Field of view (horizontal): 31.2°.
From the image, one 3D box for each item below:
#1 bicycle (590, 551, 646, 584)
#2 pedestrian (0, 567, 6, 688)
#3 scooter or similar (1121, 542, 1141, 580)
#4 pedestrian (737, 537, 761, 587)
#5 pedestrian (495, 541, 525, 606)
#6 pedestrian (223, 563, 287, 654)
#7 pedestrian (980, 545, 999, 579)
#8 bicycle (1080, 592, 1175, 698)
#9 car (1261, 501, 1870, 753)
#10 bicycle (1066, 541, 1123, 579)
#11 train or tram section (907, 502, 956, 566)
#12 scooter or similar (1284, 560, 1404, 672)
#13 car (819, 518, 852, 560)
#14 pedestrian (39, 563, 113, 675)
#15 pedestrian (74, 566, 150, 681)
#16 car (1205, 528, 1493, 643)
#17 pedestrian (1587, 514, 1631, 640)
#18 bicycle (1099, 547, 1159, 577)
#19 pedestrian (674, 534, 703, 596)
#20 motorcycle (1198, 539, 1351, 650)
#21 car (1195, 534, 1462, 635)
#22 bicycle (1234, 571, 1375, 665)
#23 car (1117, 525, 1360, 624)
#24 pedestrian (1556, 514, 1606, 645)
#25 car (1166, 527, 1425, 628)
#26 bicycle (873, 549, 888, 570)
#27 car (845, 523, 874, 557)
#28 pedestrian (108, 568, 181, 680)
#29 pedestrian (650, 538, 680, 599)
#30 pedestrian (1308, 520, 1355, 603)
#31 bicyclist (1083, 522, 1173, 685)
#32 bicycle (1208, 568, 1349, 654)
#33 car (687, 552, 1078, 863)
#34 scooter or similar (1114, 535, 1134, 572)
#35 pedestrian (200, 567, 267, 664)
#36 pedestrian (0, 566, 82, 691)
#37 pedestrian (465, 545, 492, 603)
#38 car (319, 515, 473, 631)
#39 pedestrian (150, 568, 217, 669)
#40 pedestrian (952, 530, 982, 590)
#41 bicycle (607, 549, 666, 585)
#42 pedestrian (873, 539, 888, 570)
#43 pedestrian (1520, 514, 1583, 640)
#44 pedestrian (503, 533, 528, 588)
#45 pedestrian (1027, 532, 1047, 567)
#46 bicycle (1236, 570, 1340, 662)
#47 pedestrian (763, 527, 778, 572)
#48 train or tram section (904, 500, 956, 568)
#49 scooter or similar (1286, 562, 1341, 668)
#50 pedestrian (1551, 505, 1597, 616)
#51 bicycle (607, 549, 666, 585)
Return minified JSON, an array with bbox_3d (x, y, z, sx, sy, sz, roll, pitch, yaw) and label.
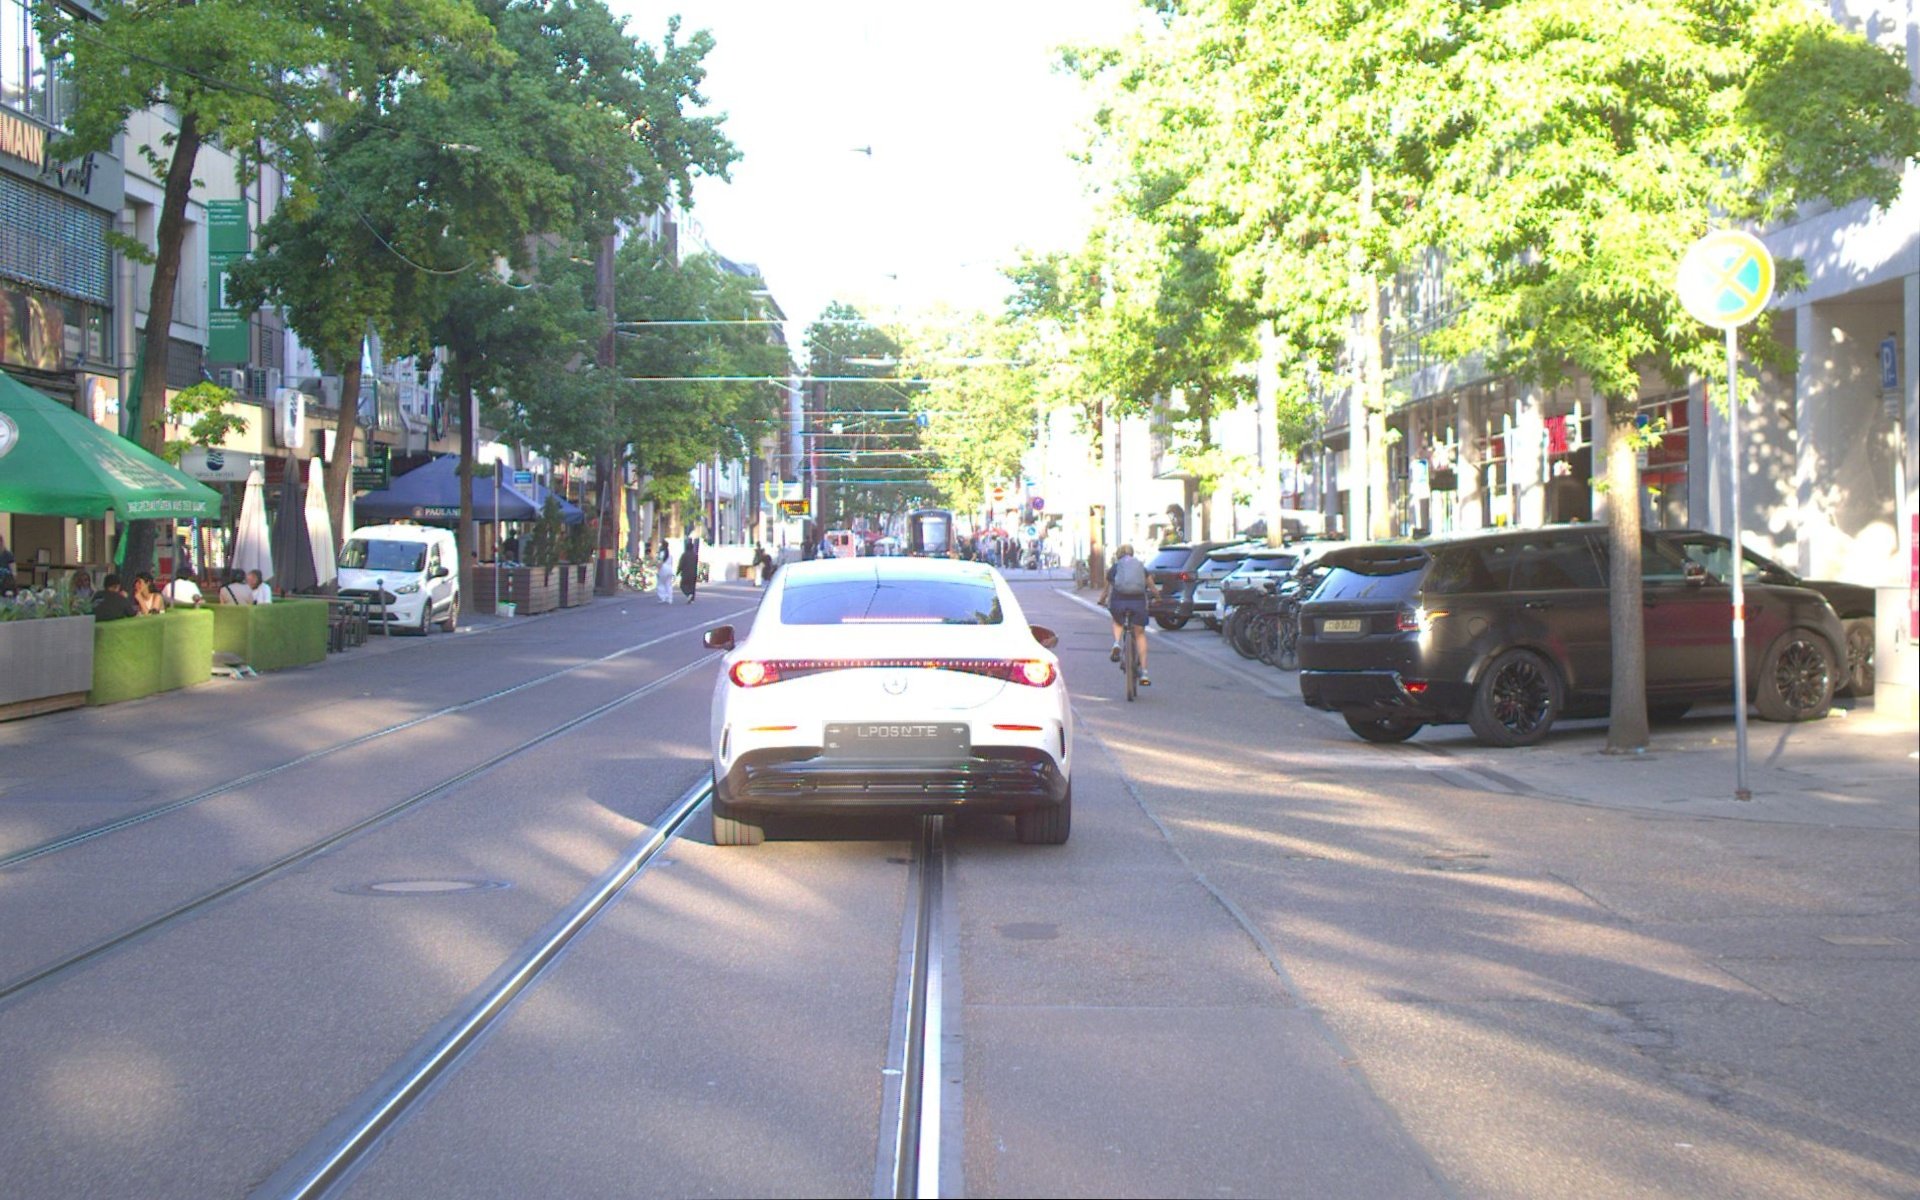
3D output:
[{"bbox_3d":[-10.239,-0.974,102.953,1.596,0.927,0.377,1,1,7],"label":"bicycle"},{"bbox_3d":[-10.371,0.284,35.551,0.708,1.255,0.869,2,1,2],"label":"pedestrian"},{"bbox_3d":[5.922,-1.354,118.828,0.491,1.273,0.660,-2,1,-11],"label":"scooter or similar"},{"bbox_3d":[-7.605,-1.381,123.705,0.788,1.795,0.844,0,1,1],"label":"pedestrian"},{"bbox_3d":[-9.504,-0.561,72.679,0.549,1.352,0.583,1,1,-1],"label":"pedestrian"},{"bbox_3d":[-9.527,0.109,46.503,0.657,1.189,0.798,3,1,-1],"label":"pedestrian"},{"bbox_3d":[1.609,-2.062,187.070,0.960,1.779,0.804,-2,1,0],"label":"pedestrian"},{"bbox_3d":[1.722,0.445,35.070,0.719,0.992,2.058,2,1,9],"label":"bicycle"},{"bbox_3d":[5.014,0.183,28.339,4.651,1.757,1.994,-3,1,-29],"label":"car"},{"bbox_3d":[4.851,-1.435,123.807,1.908,1.277,0.610,-2,1,-11],"label":"bicycle"},{"bbox_3d":[-1.583,-3.777,196.927,2.694,3.504,12.546,0,1,0],"label":"train or tram section"},{"bbox_3d":[4.695,0.191,41.975,1.302,1.272,0.564,-4,1,-31],"label":"scooter or similar"},{"bbox_3d":[-8.482,-4.170,235.006,1.993,2.887,5.275,0,1,0],"label":"car"},{"bbox_3d":[-10.119,0.216,39.376,0.619,1.240,0.697,3,1,-1],"label":"pedestrian"},{"bbox_3d":[-9.477,0.257,38.437,0.619,1.240,0.697,3,1,-1],"label":"pedestrian"},{"bbox_3d":[6.063,-0.237,53.452,4.147,1.566,1.854,-3,2,-33],"label":"car"},{"bbox_3d":[8.803,-0.318,46.623,0.517,1.690,0.550,0,1,5],"label":"pedestrian"},{"bbox_3d":[6.200,-1.398,126.117,2.113,1.092,0.610,-1,1,-13],"label":"bicycle"},{"bbox_3d":[-6.871,-0.900,87.064,0.622,1.545,0.852,2,1,0],"label":"pedestrian"},{"bbox_3d":[4.607,-0.091,50.250,2.313,1.504,0.858,-3,1,-43],"label":"motorcycle"},{"bbox_3d":[6.236,-0.277,58.146,4.145,1.494,1.689,-3,1,-23],"label":"car"},{"bbox_3d":[4.459,0.222,44.455,1.558,1.084,0.869,-4,3,-30],"label":"bicycle"},{"bbox_3d":[5.266,-0.484,64.861,4.342,1.646,1.694,-3,1,-31],"label":"car"},{"bbox_3d":[8.414,-0.285,46.590,0.523,1.744,0.559,-3,1,2],"label":"pedestrian"},{"bbox_3d":[5.960,-0.410,60.977,4.235,1.582,1.884,-3,1,-31],"label":"car"},{"bbox_3d":[-4.545,-2.315,196.841,0.800,1.138,2.257,1,1,-1],"label":"bicycle"},{"bbox_3d":[-7.402,-4.433,253.655,1.910,2.452,5.275,0,1,0],"label":"car"},{"bbox_3d":[-9.323,0.268,39.317,0.619,1.240,0.697,3,1,-1],"label":"pedestrian"},{"bbox_3d":[-7.387,-0.786,86.109,0.622,1.504,0.833,2,1,0],"label":"pedestrian"},{"bbox_3d":[7.857,-0.816,72.691,0.689,1.725,0.631,-2,1,42],"label":"pedestrian"},{"bbox_3d":[1.708,0.023,34.891,0.778,1.607,0.912,2,1,9],"label":"bicyclist"},{"bbox_3d":[4.515,0.150,48.688,1.890,1.116,0.667,-3,0,-29],"label":"bicycle"},{"bbox_3d":[-0.382,0.485,18.550,1.857,1.450,4.175,1,1,0],"label":"car"},{"bbox_3d":[5.699,-1.628,119.467,0.527,1.273,0.660,-2,1,-11],"label":"scooter or similar"},{"bbox_3d":[-9.646,0.198,45.645,0.657,1.240,0.873,3,1,-1],"label":"pedestrian"},{"bbox_3d":[-9.534,0.287,35.459,0.708,1.255,0.772,2,1,2],"label":"pedestrian"},{"bbox_3d":[-10.354,-0.562,73.997,0.494,1.223,0.535,1,1,-1],"label":"pedestrian"},{"bbox_3d":[-9.695,-0.492,59.405,1.795,1.858,4.553,2,1,1],"label":"car"},{"bbox_3d":[-10.270,0.236,45.494,0.657,1.289,0.798,3,1,-1],"label":"pedestrian"},{"bbox_3d":[0.220,-1.219,104.311,0.841,1.795,0.790,1,1,1],"label":"pedestrian"},{"bbox_3d":[-10.011,-1.025,106.465,1.788,1.073,0.377,1,1,-4],"label":"bicycle"},{"bbox_3d":[-4.535,-2.620,196.833,0.800,1.776,0.849,1,1,-1],"label":"pedestrian"},{"bbox_3d":[7.958,-0.316,46.271,0.678,1.690,0.550,0,1,-12],"label":"pedestrian"},{"bbox_3d":[-12.517,-1.128,96.802,0.597,1.527,0.671,1,1,1],"label":"pedestrian"},{"bbox_3d":[4.036,-2.657,180.728,0.960,1.779,0.804,-2,1,0],"label":"pedestrian"},{"bbox_3d":[4.470,0.210,46.739,0.481,1.159,1.691,-3,1,40],"label":"bicycle"},{"bbox_3d":[-8.174,-2.179,148.364,0.539,1.922,0.573,0,1,4],"label":"pedestrian"},{"bbox_3d":[-1.566,-3.546,184.375,2.694,3.504,12.546,0,1,0],"label":"train or tram section"},{"bbox_3d":[4.416,0.182,42.976,0.451,1.272,1.307,-4,1,-1],"label":"scooter or similar"},{"bbox_3d":[9.752,-0.628,54.592,0.557,1.744,0.525,-3,1,0],"label":"pedestrian"},{"bbox_3d":[-9.985,-1.020,106.030,1.788,1.073,0.377,1,1,-4],"label":"bicycle"}]
